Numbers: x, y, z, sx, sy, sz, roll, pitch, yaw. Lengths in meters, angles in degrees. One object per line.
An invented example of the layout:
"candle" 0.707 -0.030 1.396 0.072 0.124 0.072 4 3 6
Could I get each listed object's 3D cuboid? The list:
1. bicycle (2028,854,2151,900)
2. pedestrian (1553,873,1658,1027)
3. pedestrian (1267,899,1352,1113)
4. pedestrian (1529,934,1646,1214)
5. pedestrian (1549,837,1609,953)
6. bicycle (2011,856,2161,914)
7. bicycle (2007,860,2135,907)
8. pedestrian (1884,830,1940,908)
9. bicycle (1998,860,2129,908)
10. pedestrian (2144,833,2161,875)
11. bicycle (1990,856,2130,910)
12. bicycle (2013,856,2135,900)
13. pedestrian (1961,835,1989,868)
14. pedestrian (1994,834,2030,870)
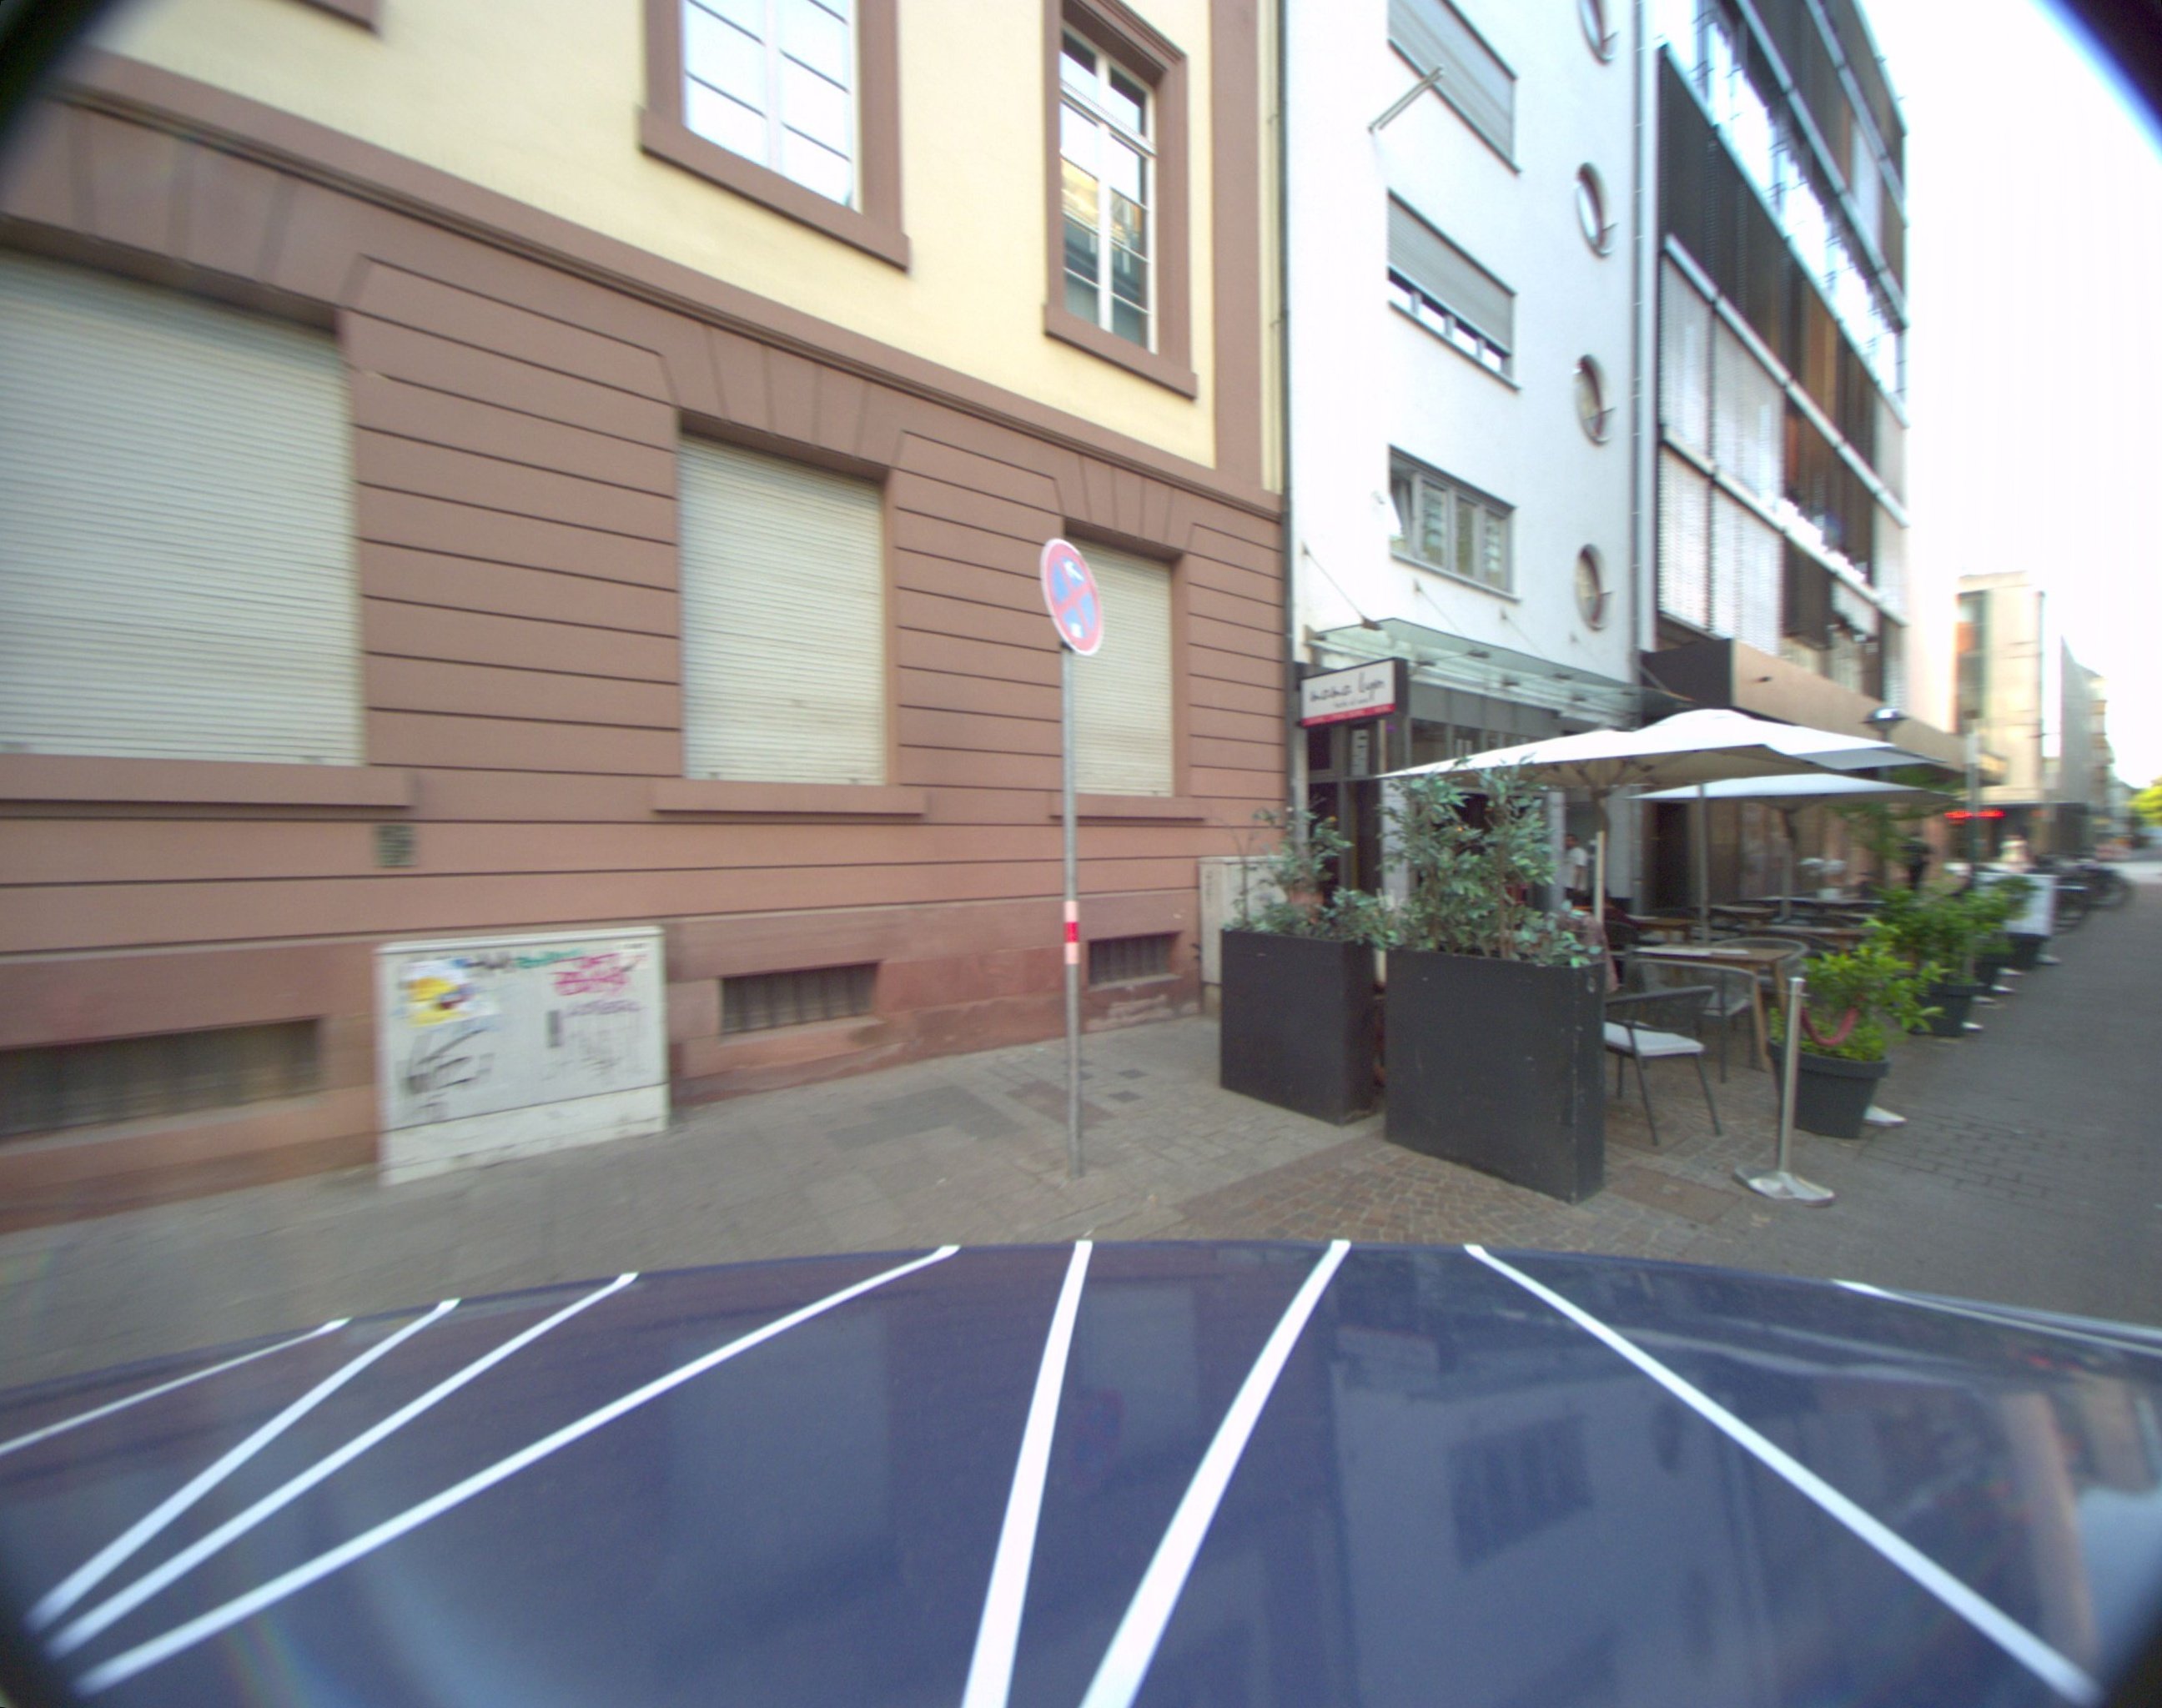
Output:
"bicycle" 28.175 0.613 21.269 0.620 1.209 2.034 -1 1 -36
"pedestrian" 5.234 0.912 7.582 0.870 1.412 0.574 -1 1 -34
"pedestrian" 1.519 0.968 5.036 0.361 1.298 0.496 0 1 41
"pedestrian" 2.467 1.025 3.703 0.384 1.206 0.399 -2 1 -44
"pedestrian" 7.823 0.616 11.932 0.603 1.762 0.638 -2 1 -40
"bicycle" 23.289 0.676 17.658 0.667 1.161 2.033 -1 4 -36
"bicycle" 26.225 0.742 20.163 0.620 1.161 2.034 -1 1 -36
"pedestrian" 19.984 0.345 18.273 0.676 1.826 0.802 -1 1 -33
"bicycle" 25.279 0.737 19.590 0.620 1.161 2.034 -1 1 -36
"pedestrian" 42.318 -0.004 29.648 0.781 1.612 0.637 0 2 32
"bicycle" 24.201 0.678 18.827 0.620 1.161 2.033 -1 4 -36
"bicycle" 27.378 0.637 20.988 0.620 1.161 2.034 -1 1 -36
"pedestrian" 41.354 -0.112 35.148 0.784 1.516 0.634 -2 2 -26
"pedestrian" 42.363 -0.114 34.573 0.635 1.612 0.783 -1 2 6
